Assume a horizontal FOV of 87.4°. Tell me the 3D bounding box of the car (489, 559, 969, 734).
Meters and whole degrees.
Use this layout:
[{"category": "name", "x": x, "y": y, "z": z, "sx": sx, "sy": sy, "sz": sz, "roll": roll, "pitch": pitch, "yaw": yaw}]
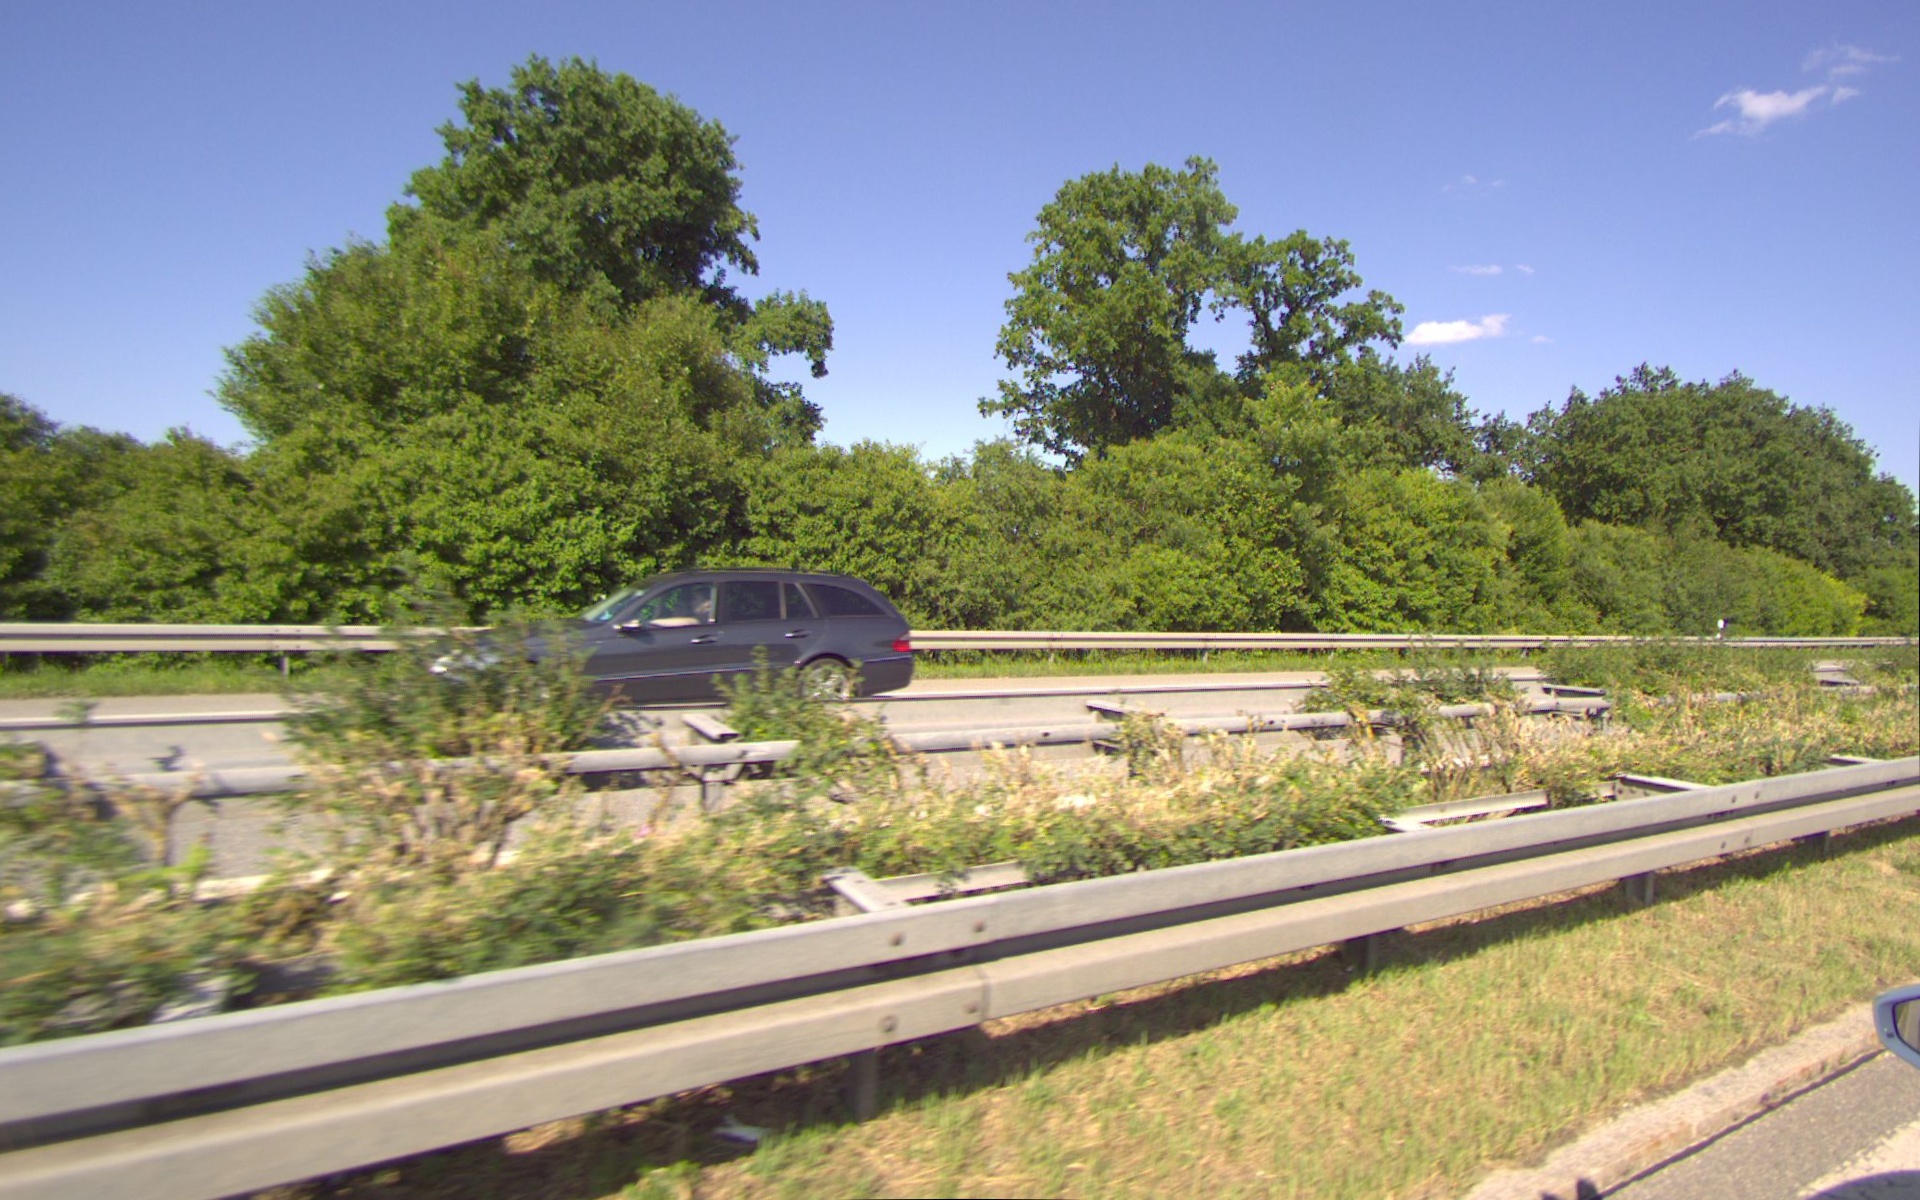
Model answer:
[{"category": "car", "x": -2.304, "y": 0.427, "z": 10.350, "sx": 4.436, "sy": 1.451, "sz": 1.983, "roll": 1, "pitch": -1, "yaw": -32}]
